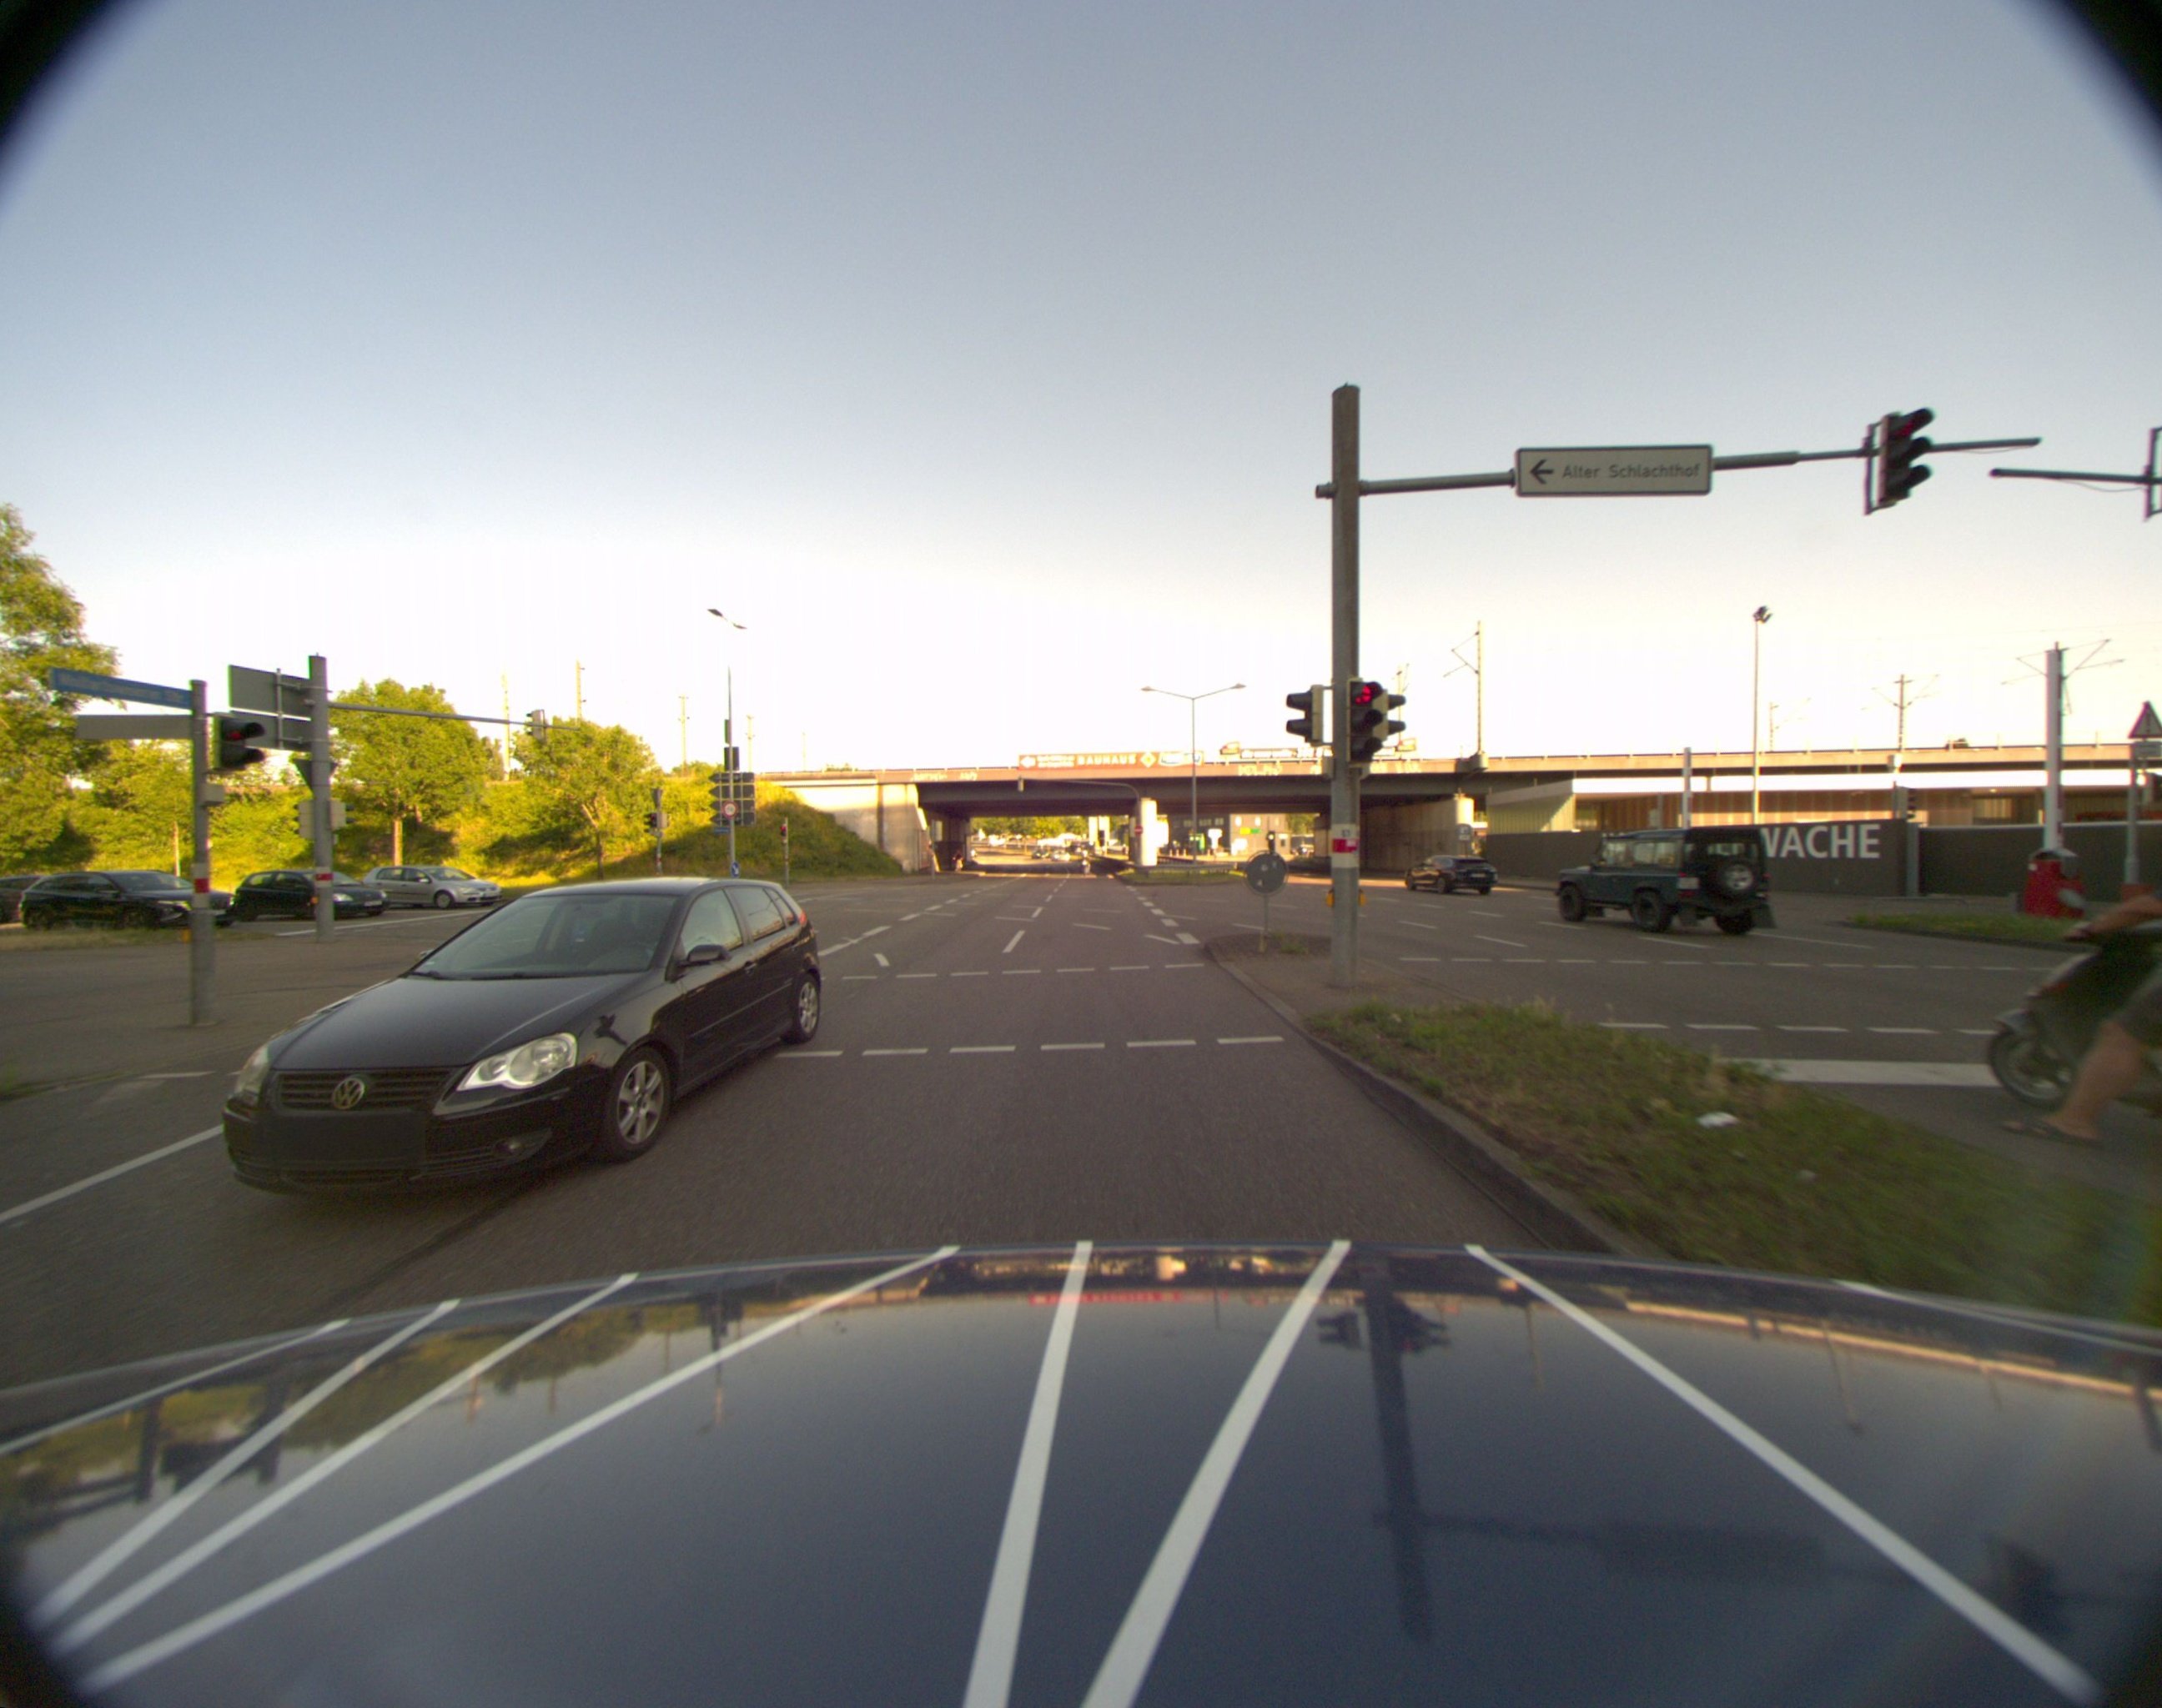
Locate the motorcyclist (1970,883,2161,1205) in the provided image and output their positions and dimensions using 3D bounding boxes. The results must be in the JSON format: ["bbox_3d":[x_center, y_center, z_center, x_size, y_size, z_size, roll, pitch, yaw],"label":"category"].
[{"bbox_3d":[4.951,0.813,3.242,0.799,1.341,1.274,1,0,-6],"label":"motorcyclist"}]

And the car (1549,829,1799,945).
[{"bbox_3d":[11.627,0.584,15.307,1.799,1.967,3.993,2,0,-1],"label":"car"}]

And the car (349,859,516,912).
[{"bbox_3d":[-21.932,1.054,25.799,3.996,1.521,1.890,-2,2,2],"label":"car"}]

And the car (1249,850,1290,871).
[{"bbox_3d":[14.654,0.465,59.414,1.999,1.393,4.347,3,2,-1],"label":"car"}]

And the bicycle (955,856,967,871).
[{"bbox_3d":[-9.315,0.713,58.978,0.783,1.051,2.494,-2,2,-7],"label":"bicycle"}]

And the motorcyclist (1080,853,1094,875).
[{"bbox_3d":[0.405,0.653,51.702,0.839,1.434,0.878,-2,2,1],"label":"motorcyclist"}]

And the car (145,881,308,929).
[{"bbox_3d":[-33.303,1.966,29.688,4.336,1.559,2.041,-2,2,7],"label":"car"}]

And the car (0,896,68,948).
[{"bbox_3d":[-36.667,2.293,24.982,4.336,1.559,2.041,-2,2,7],"label":"car"}]

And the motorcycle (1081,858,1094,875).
[{"bbox_3d":[0.437,0.842,51.742,0.811,1.040,2.352,-2,2,1],"label":"motorcycle"}]

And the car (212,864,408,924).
[{"bbox_3d":[-23.004,1.176,22.778,3.995,1.521,2.000,-2,2,7],"label":"car"}]

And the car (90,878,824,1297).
[{"bbox_3d":[-3.088,0.992,4.868,1.621,1.402,3.681,-2,2,-1],"label":"car"}]

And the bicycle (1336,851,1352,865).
[{"bbox_3d":[21.736,0.318,62.908,0.706,1.149,2.081,-2,0,5],"label":"bicycle"}]

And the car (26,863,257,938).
[{"bbox_3d":[-24.463,1.185,19.871,3.995,1.684,1.863,-2,2,7],"label":"car"}]

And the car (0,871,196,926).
[{"bbox_3d":[-30.397,1.349,23.336,4.336,1.399,2.041,-2,2,7],"label":"car"}]

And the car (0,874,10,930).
[{"bbox_3d":[-32.130,1.434,20.358,4.336,1.559,2.041,-2,2,7],"label":"car"}]

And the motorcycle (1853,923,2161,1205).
[{"bbox_3d":[4.965,0.946,3.183,0.842,1.069,2.399,1,0,-6],"label":"motorcycle"}]

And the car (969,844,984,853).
[{"bbox_3d":[-17.596,-0.893,127.486,1.879,1.431,3.677,-3,2,-17],"label":"car"}]

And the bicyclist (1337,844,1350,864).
[{"bbox_3d":[21.713,-0.016,62.897,0.726,1.555,0.939,-2,2,5],"label":"bicyclist"}]

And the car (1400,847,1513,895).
[{"bbox_3d":[14.636,0.606,29.980,1.999,1.583,4.713,3,2,-1],"label":"car"}]

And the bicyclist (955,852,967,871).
[{"bbox_3d":[-9.335,0.544,58.932,0.843,1.413,1.113,-2,2,-8],"label":"bicyclist"}]
